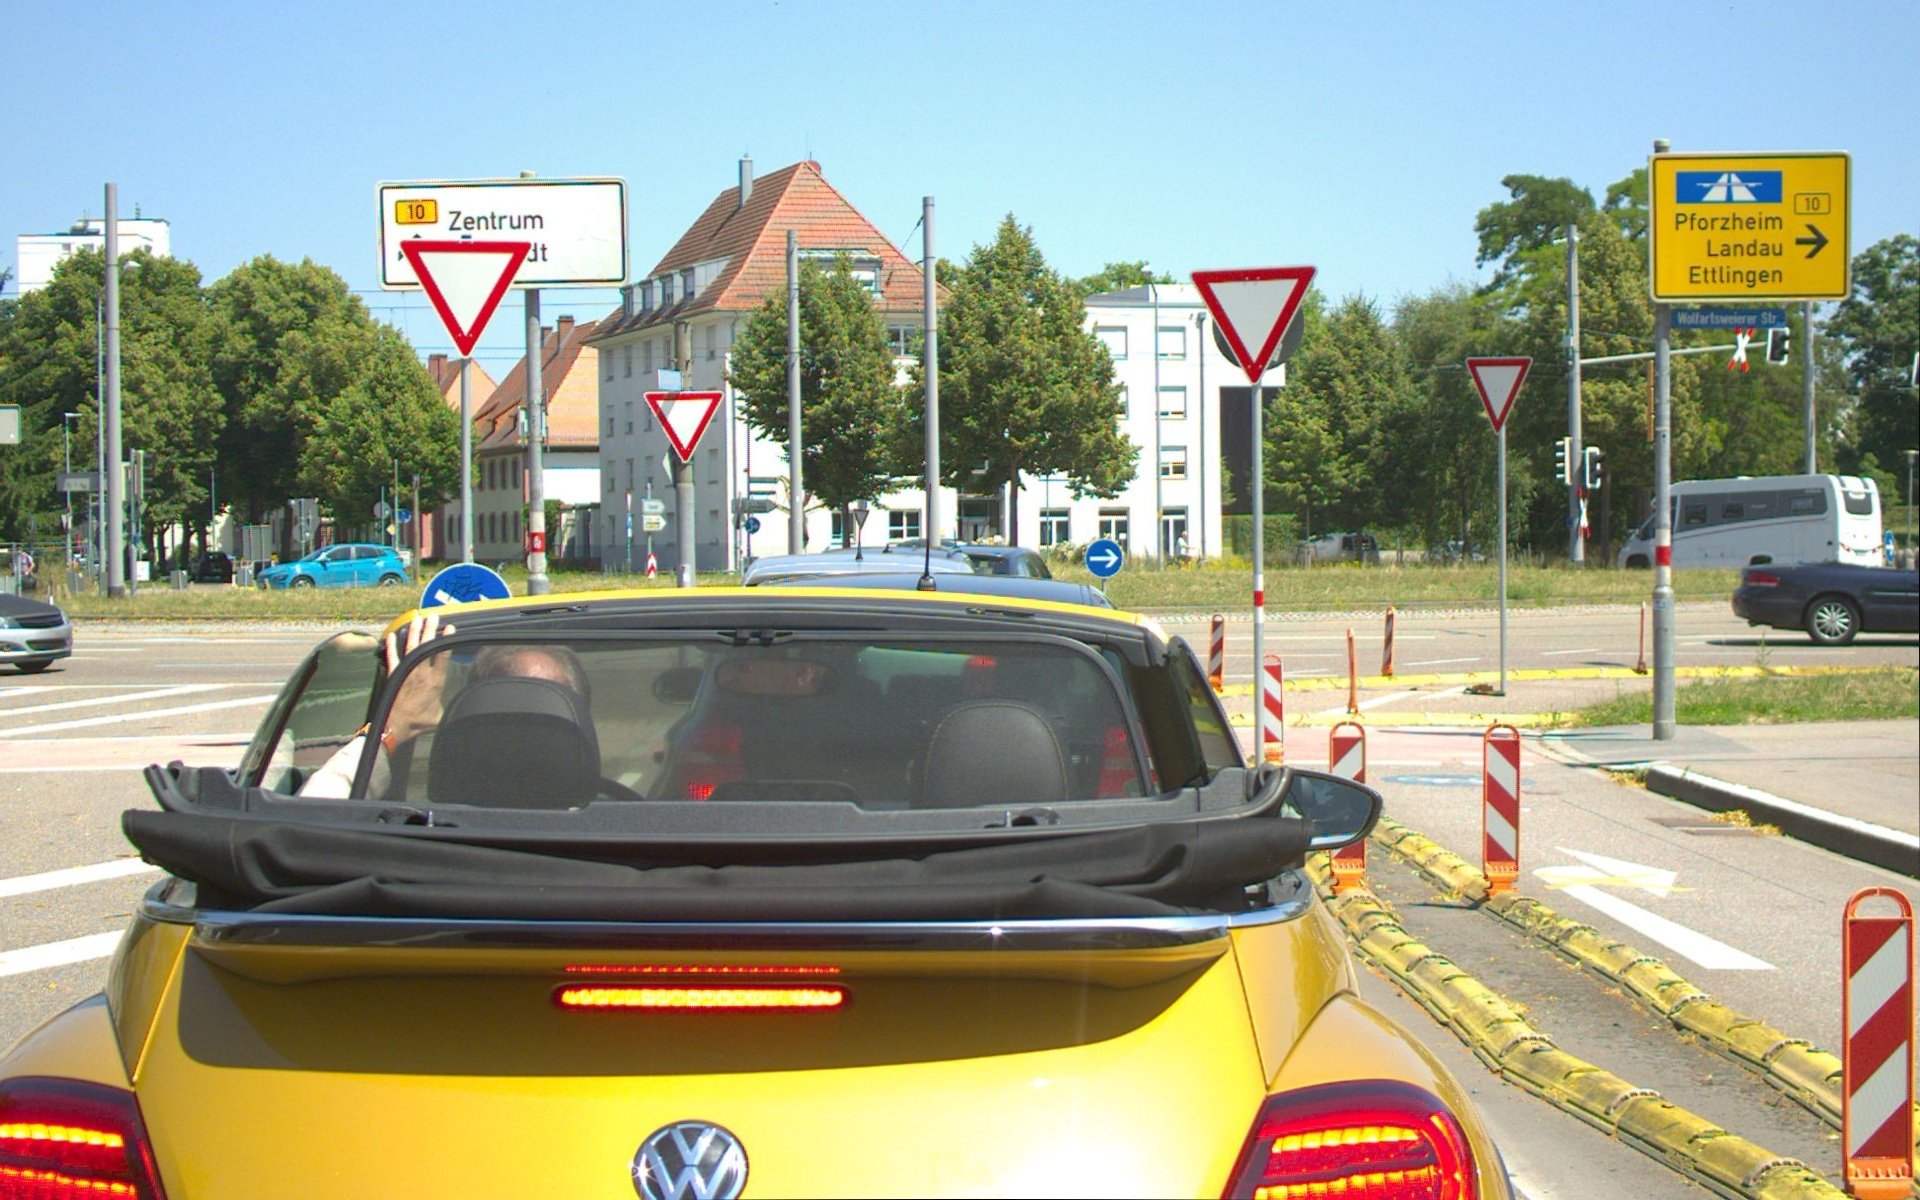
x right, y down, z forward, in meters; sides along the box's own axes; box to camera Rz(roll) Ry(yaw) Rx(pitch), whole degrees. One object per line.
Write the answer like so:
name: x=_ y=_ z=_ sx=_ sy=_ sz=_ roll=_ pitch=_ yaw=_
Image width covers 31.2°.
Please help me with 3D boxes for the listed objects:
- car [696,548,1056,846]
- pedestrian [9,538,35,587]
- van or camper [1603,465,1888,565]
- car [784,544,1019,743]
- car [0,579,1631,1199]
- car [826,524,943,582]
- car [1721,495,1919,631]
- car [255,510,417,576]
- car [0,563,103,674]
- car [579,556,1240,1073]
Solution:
car: x=-0.427 y=0.440 z=18.654 sx=1.736 sy=1.437 sz=4.000 roll=0 pitch=1 yaw=-1
pedestrian: x=-29.939 y=-1.193 z=109.718 sx=0.498 sy=1.558 sz=0.591 roll=0 pitch=1 yaw=33
van or camper: x=21.737 y=-2.336 z=95.449 sx=2.507 sy=2.684 sz=7.508 roll=-1 pitch=1 yaw=-45
car: x=-0.453 y=0.291 z=27.455 sx=1.736 sy=1.472 sz=4.000 roll=0 pitch=1 yaw=-1
car: x=-0.326 y=0.698 z=4.859 sx=1.752 sy=1.417 sz=3.778 roll=0 pitch=1 yaw=-1
car: x=-2.117 y=-1.334 z=97.287 sx=3.218 sy=1.601 sz=1.651 roll=0 pitch=1 yaw=3
car: x=11.950 y=-0.459 z=42.430 sx=4.940 sy=1.650 sz=1.999 roll=0 pitch=1 yaw=12
car: x=-17.482 y=-1.588 z=96.330 sx=3.988 sy=1.831 sz=2.000 roll=0 pitch=1 yaw=-37
car: x=-12.905 y=0.198 z=42.434 sx=4.268 sy=1.312 sz=1.821 roll=1 pitch=1 yaw=22
car: x=-0.161 y=0.577 z=11.642 sx=1.848 sy=1.437 sz=4.000 roll=0 pitch=1 yaw=-1
